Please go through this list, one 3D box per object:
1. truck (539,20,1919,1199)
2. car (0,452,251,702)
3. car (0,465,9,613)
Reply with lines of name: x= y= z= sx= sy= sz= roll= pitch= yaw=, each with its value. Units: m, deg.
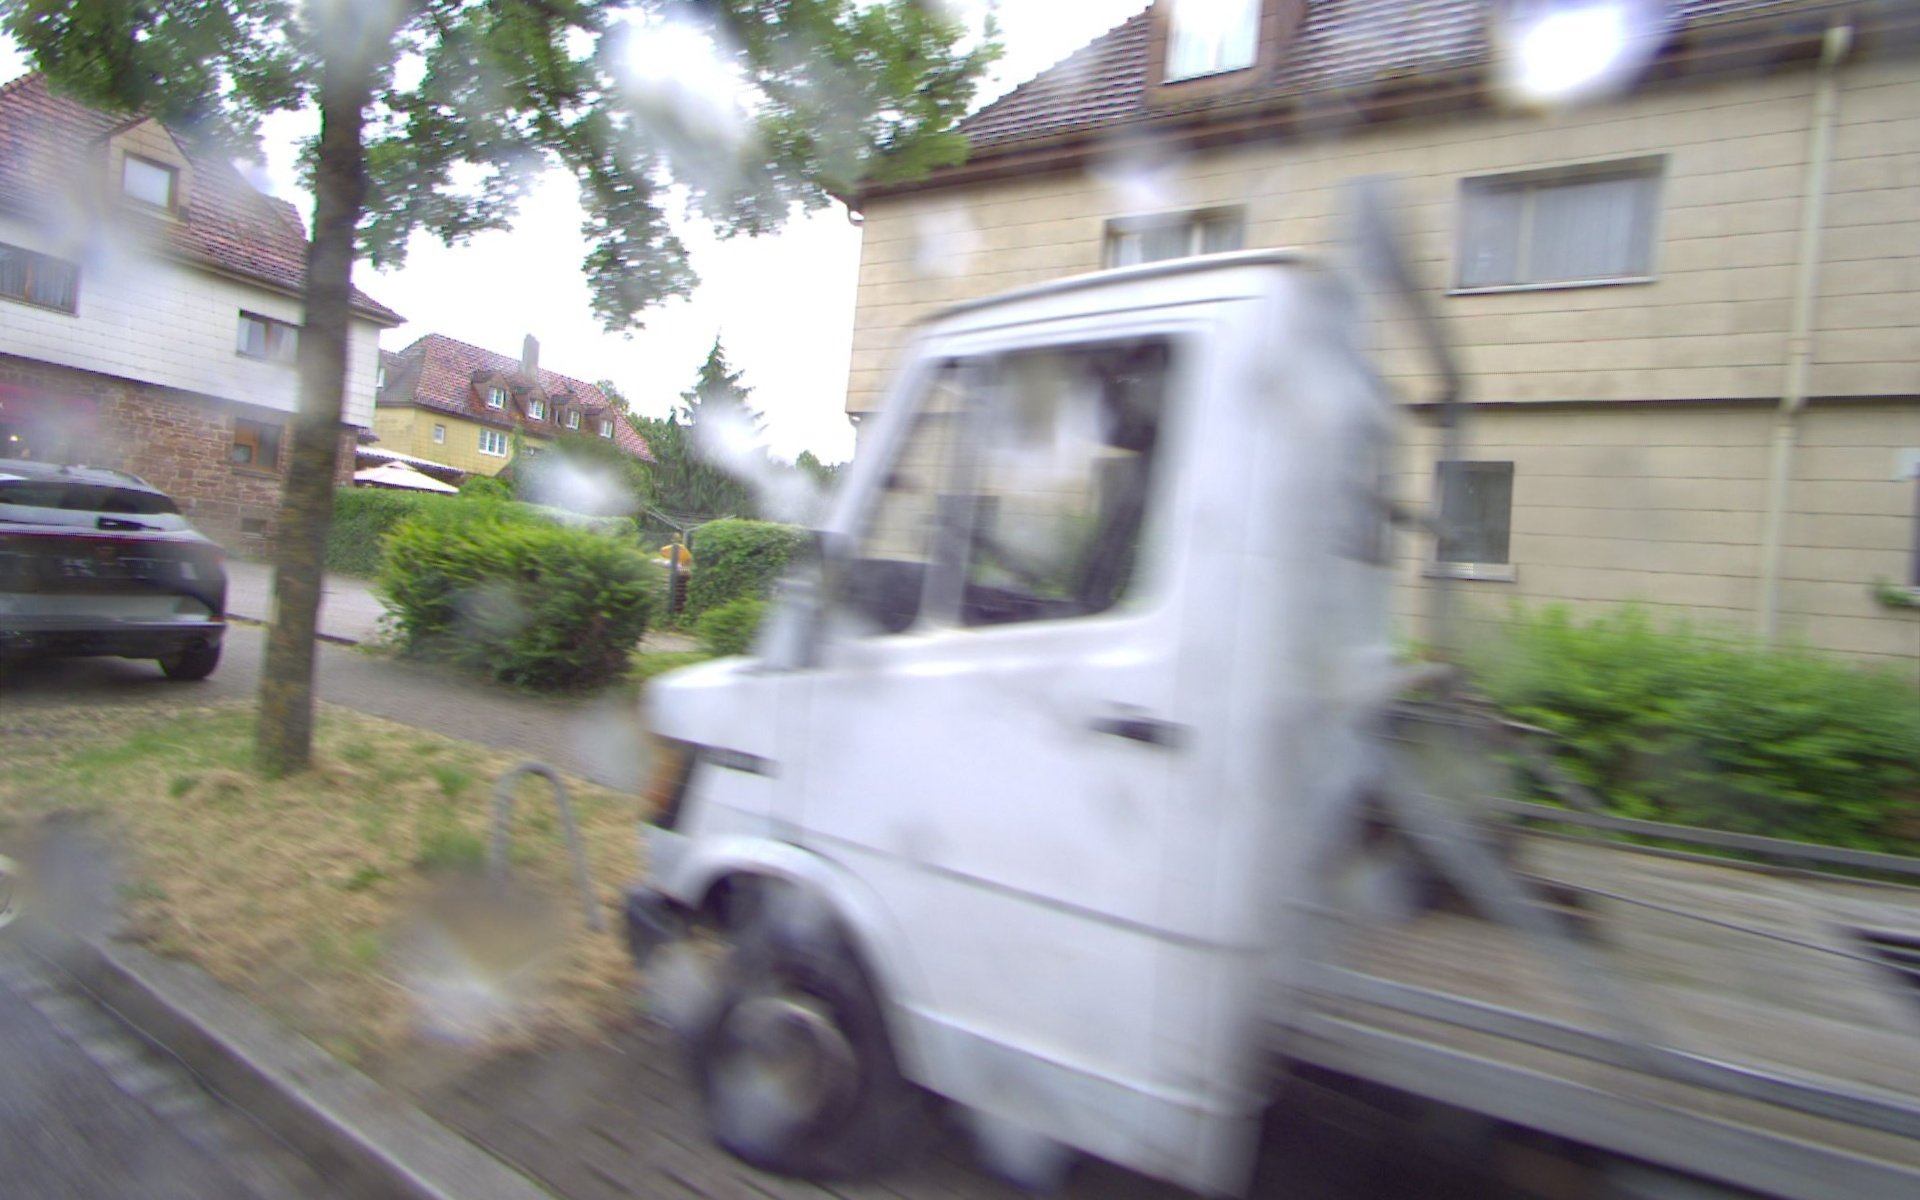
truck: x=2.266 y=0.507 z=1.800 sx=6.392 sy=2.251 sz=2.080 roll=7 pitch=3 yaw=31
car: x=-7.296 y=-0.320 z=7.571 sx=4.114 sy=1.519 sz=1.714 roll=7 pitch=2 yaw=32
car: x=-11.667 y=-0.813 z=10.506 sx=3.792 sy=1.492 sz=1.604 roll=7 pitch=3 yaw=32
